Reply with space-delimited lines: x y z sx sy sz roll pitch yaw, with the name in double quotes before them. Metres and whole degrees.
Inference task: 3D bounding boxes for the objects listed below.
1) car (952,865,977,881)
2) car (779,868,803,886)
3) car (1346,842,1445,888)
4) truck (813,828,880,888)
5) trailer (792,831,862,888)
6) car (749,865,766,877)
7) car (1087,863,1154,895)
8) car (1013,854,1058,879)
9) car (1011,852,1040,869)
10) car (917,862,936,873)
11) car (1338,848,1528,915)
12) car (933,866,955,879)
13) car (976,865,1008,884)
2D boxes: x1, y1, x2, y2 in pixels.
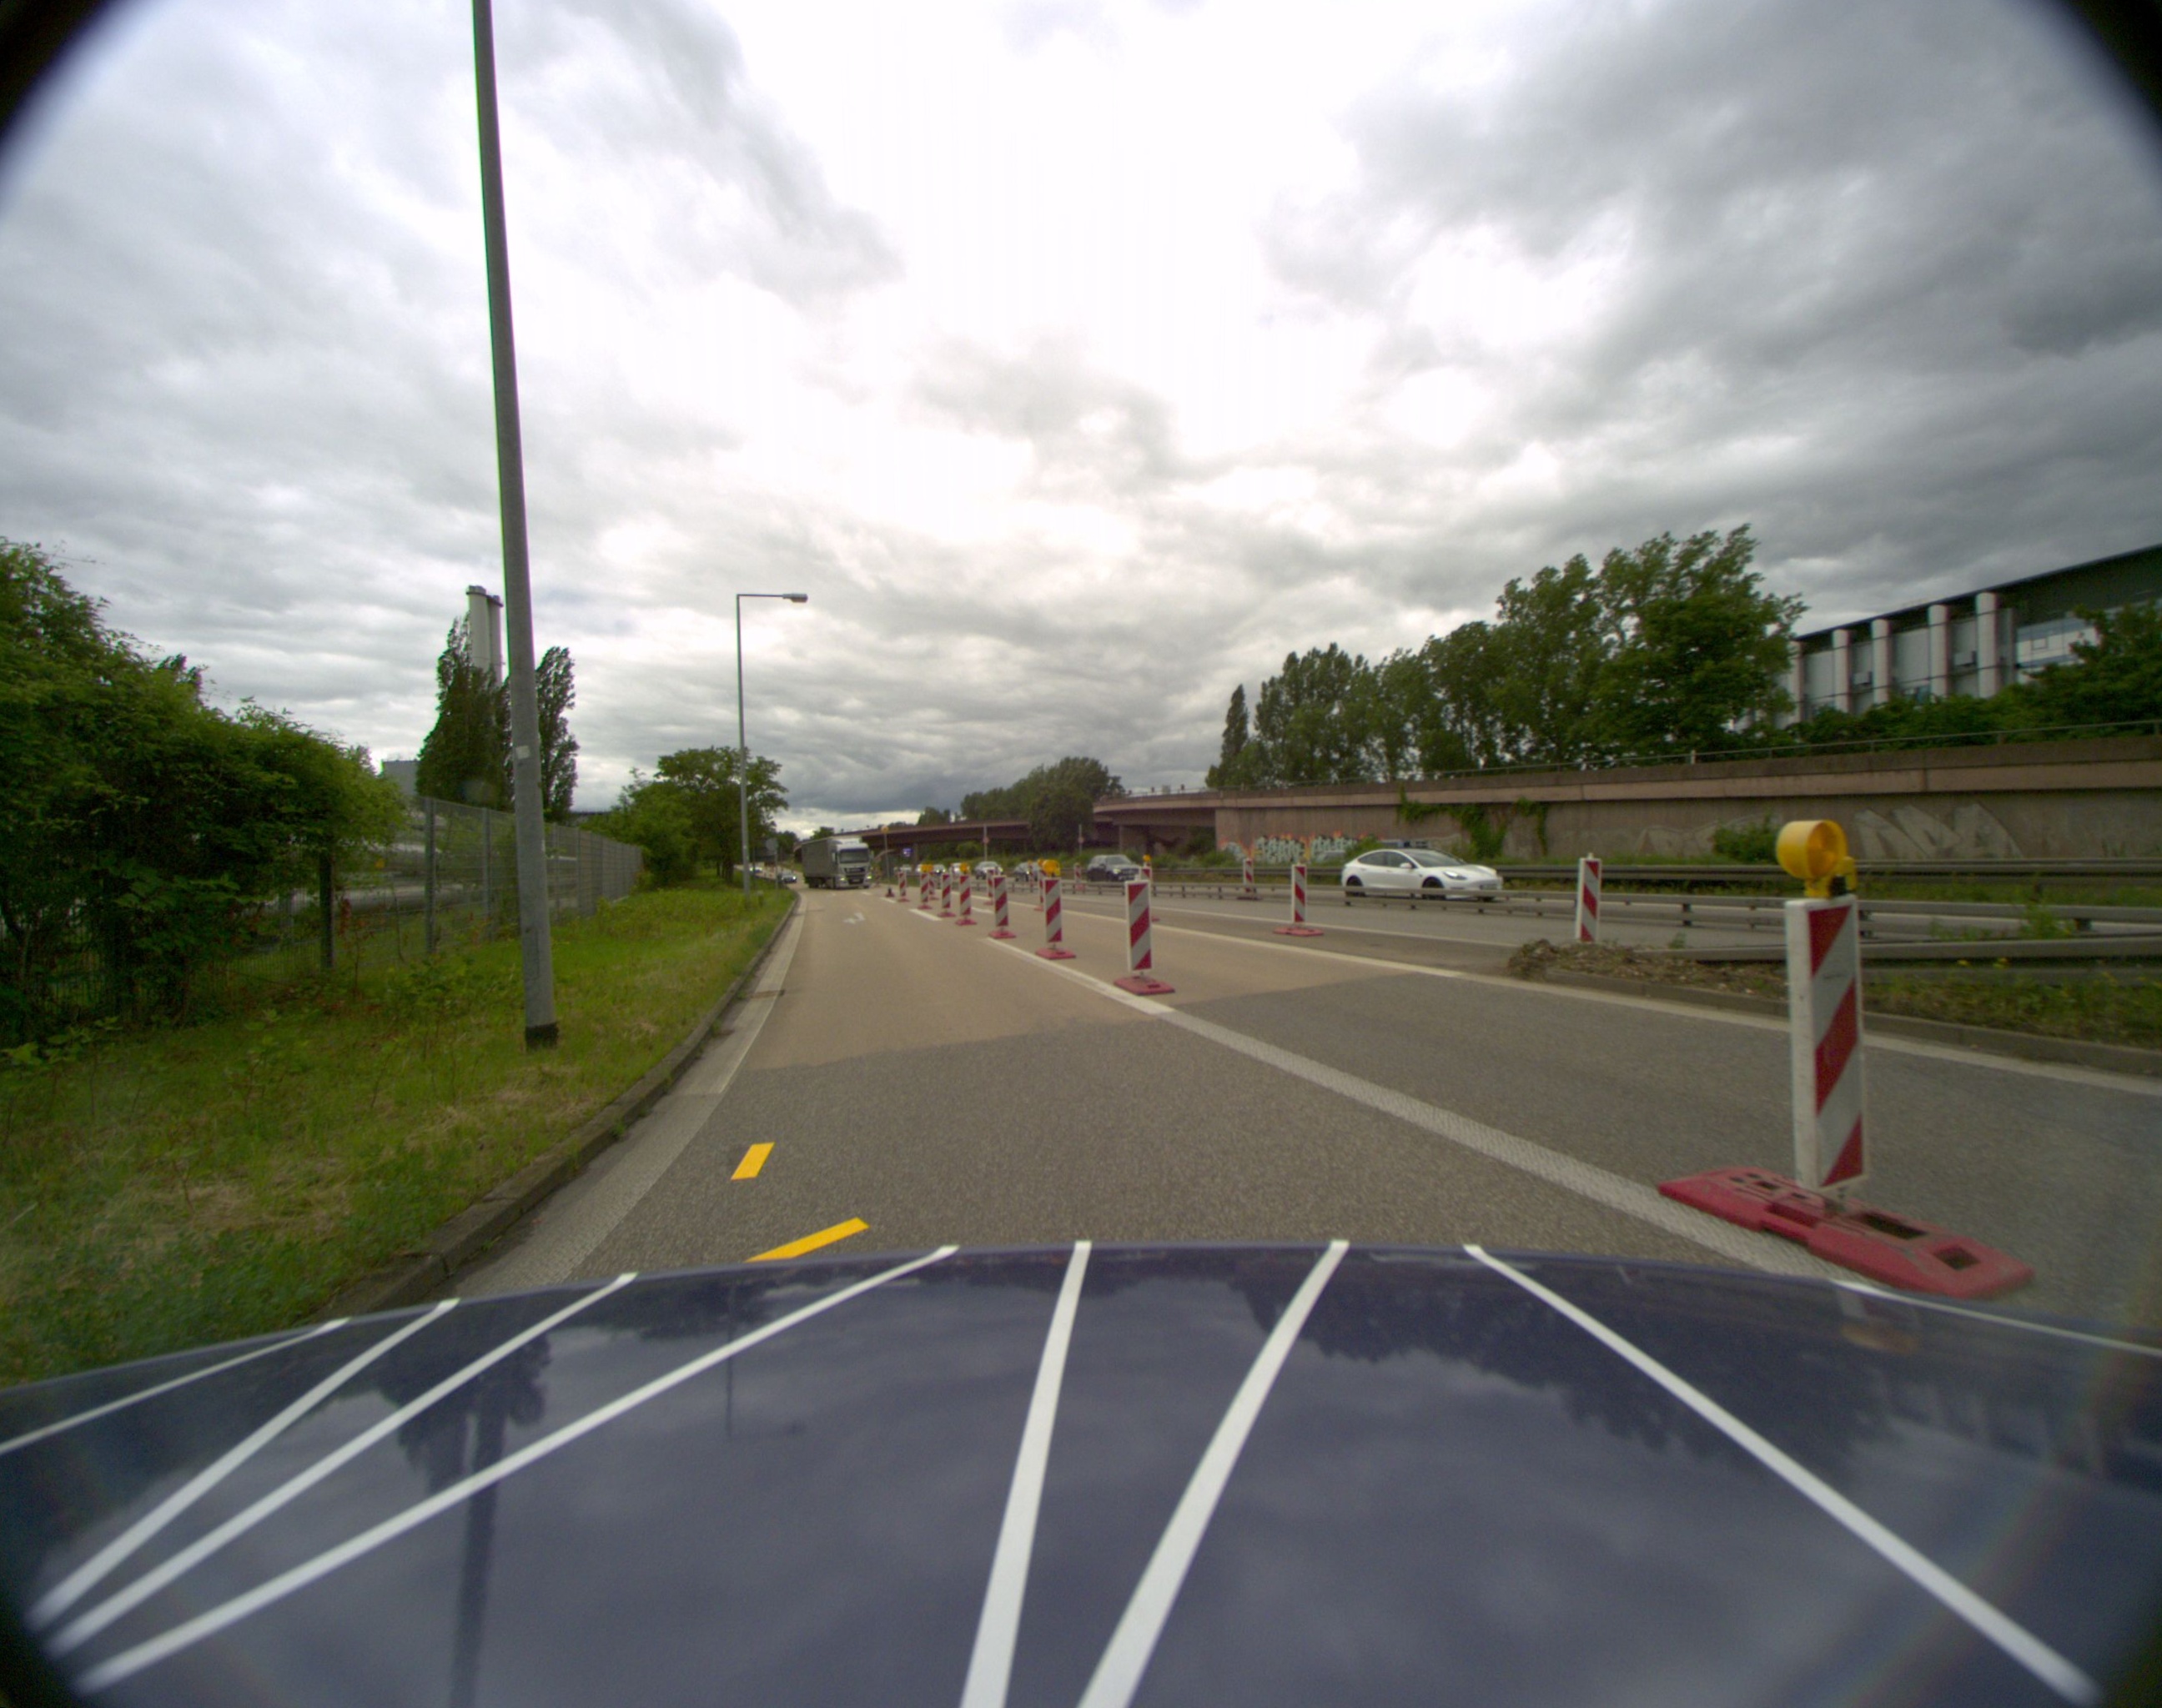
"car" -12.573 2.030 82.063 2.002 1.584 3.994 -1 0 -19
"car" -33.341 2.613 87.317 2.003 2.001 3.992 0 -1 -28
"car" 14.840 0.547 36.131 2.001 2.001 4.280 -2 0 -18
"truck" -18.140 0.369 58.341 3.168 4.106 8.124 -4 0 -28
"trailer" -22.215 0.584 65.765 3.170 4.298 13.236 -3 0 -29
"car" -52.483 2.721 123.298 1.996 1.851 3.932 0 -1 -30
"car" 2.009 1.266 40.036 1.983 1.502 4.285 -2 0 -20
"car" -3.389 0.904 55.824 1.939 1.693 3.992 -3 1 -23
"car" -5.739 0.702 78.194 1.862 1.630 4.284 -2 0 -20
"car" -21.542 1.868 105.895 2.002 1.584 4.285 -1 0 -19
"car" 9.137 0.677 20.188 2.002 1.532 4.453 -1 -1 -20
"car" -17.058 2.306 94.325 2.002 1.584 4.285 -1 0 -19
"car" -8.009 1.800 68.017 1.805 1.503 3.992 -1 0 -22
